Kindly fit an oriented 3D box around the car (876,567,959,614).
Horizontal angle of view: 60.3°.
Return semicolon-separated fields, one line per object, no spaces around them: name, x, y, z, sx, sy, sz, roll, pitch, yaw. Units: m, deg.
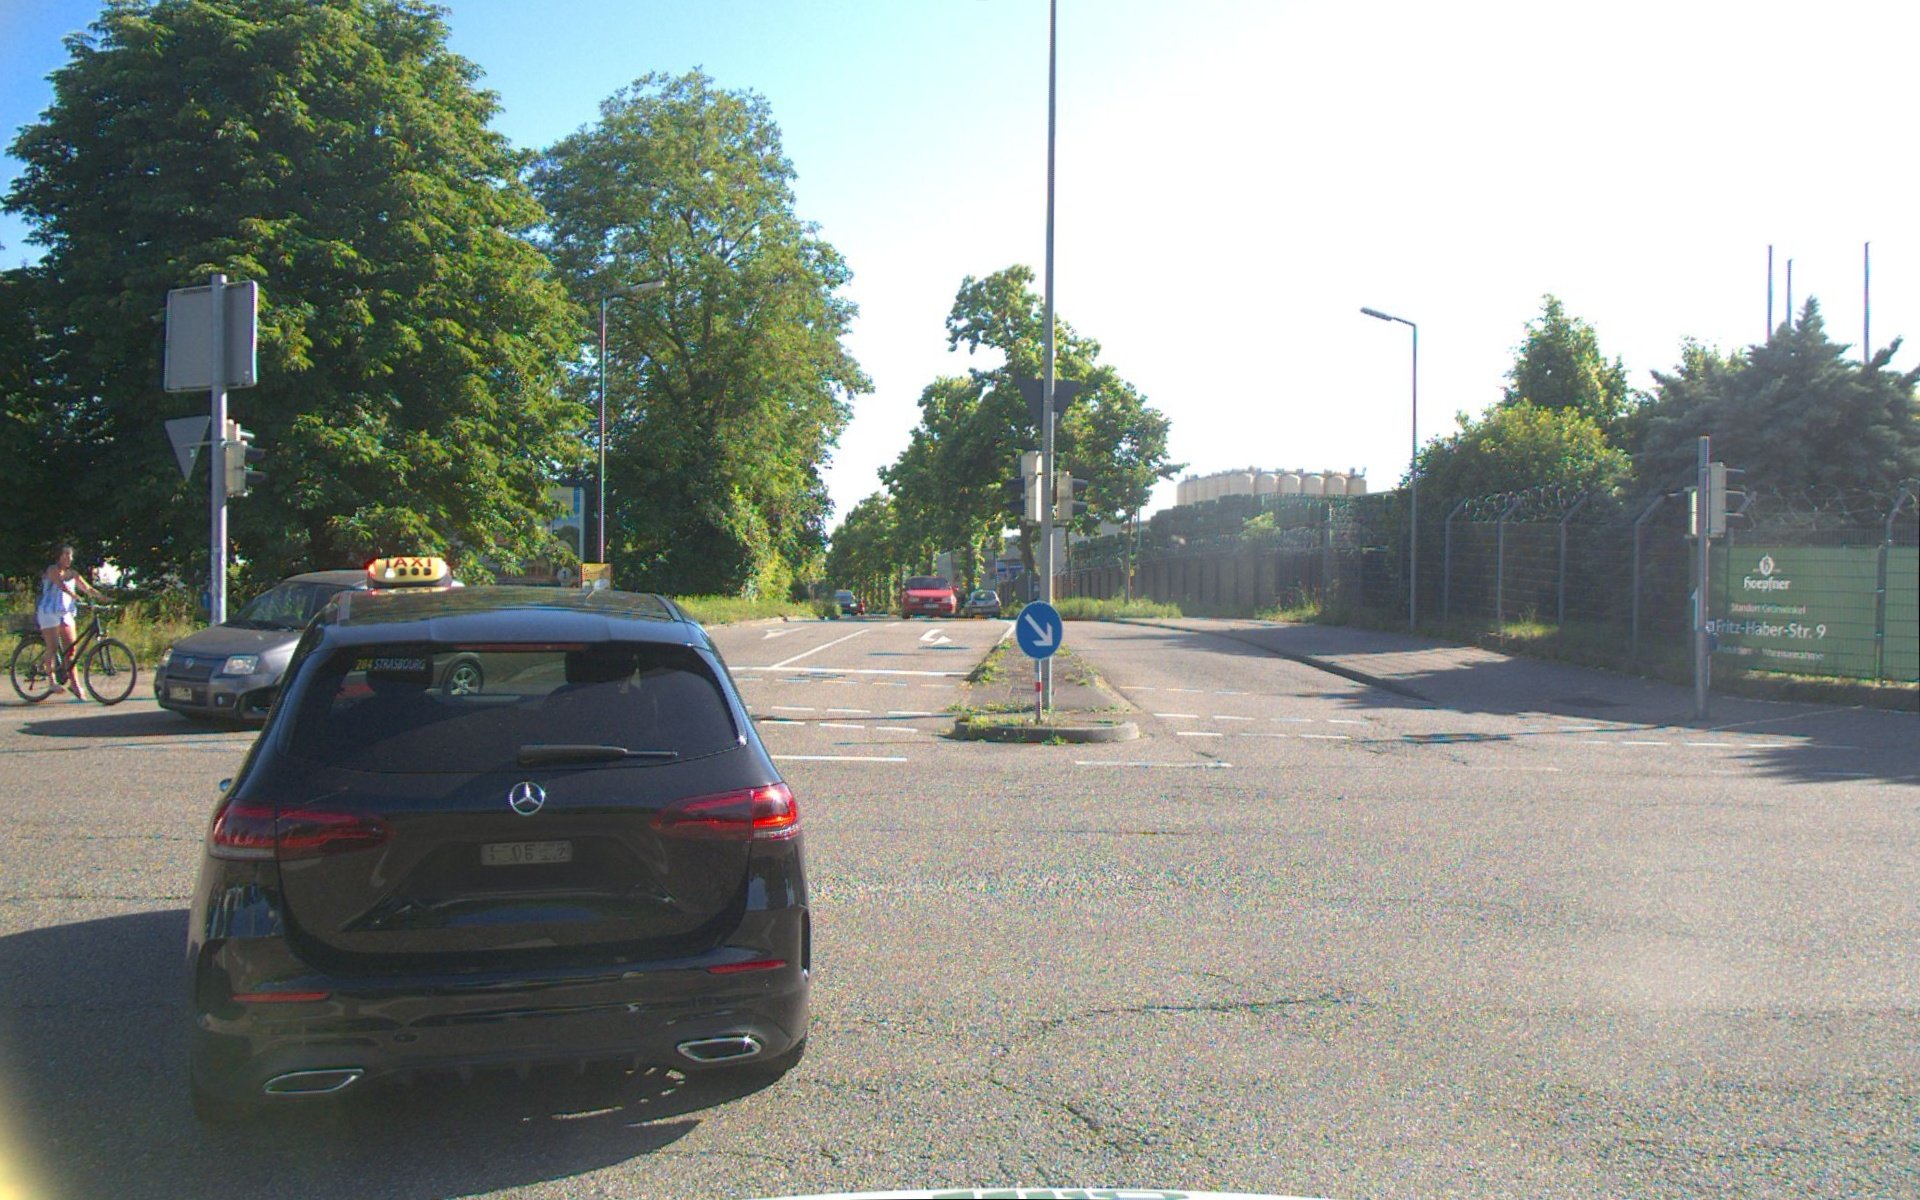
car;-1.457;-0.307;54.899;1.827;1.495;4.120;0;0;-16

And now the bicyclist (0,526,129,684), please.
bicyclist;-10.193;0.050;18.635;1.161;1.722;0.892;1;-1;19

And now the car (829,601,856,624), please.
car;-8.160;0.854;114.437;1.821;1.495;4.135;0;0;-5

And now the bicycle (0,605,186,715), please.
bicycle;-10.221;0.649;18.646;2.882;1.145;0.903;1;0;19

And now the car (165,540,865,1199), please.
car;-1.671;0.651;6.177;1.742;1.620;3.970;0;0;-17

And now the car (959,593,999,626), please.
car;0.952;0.489;84.127;1.657;1.660;3.125;0;0;-7

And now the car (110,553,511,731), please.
car;-6.742;0.390;17.652;1.767;1.668;4.000;0;0;21
